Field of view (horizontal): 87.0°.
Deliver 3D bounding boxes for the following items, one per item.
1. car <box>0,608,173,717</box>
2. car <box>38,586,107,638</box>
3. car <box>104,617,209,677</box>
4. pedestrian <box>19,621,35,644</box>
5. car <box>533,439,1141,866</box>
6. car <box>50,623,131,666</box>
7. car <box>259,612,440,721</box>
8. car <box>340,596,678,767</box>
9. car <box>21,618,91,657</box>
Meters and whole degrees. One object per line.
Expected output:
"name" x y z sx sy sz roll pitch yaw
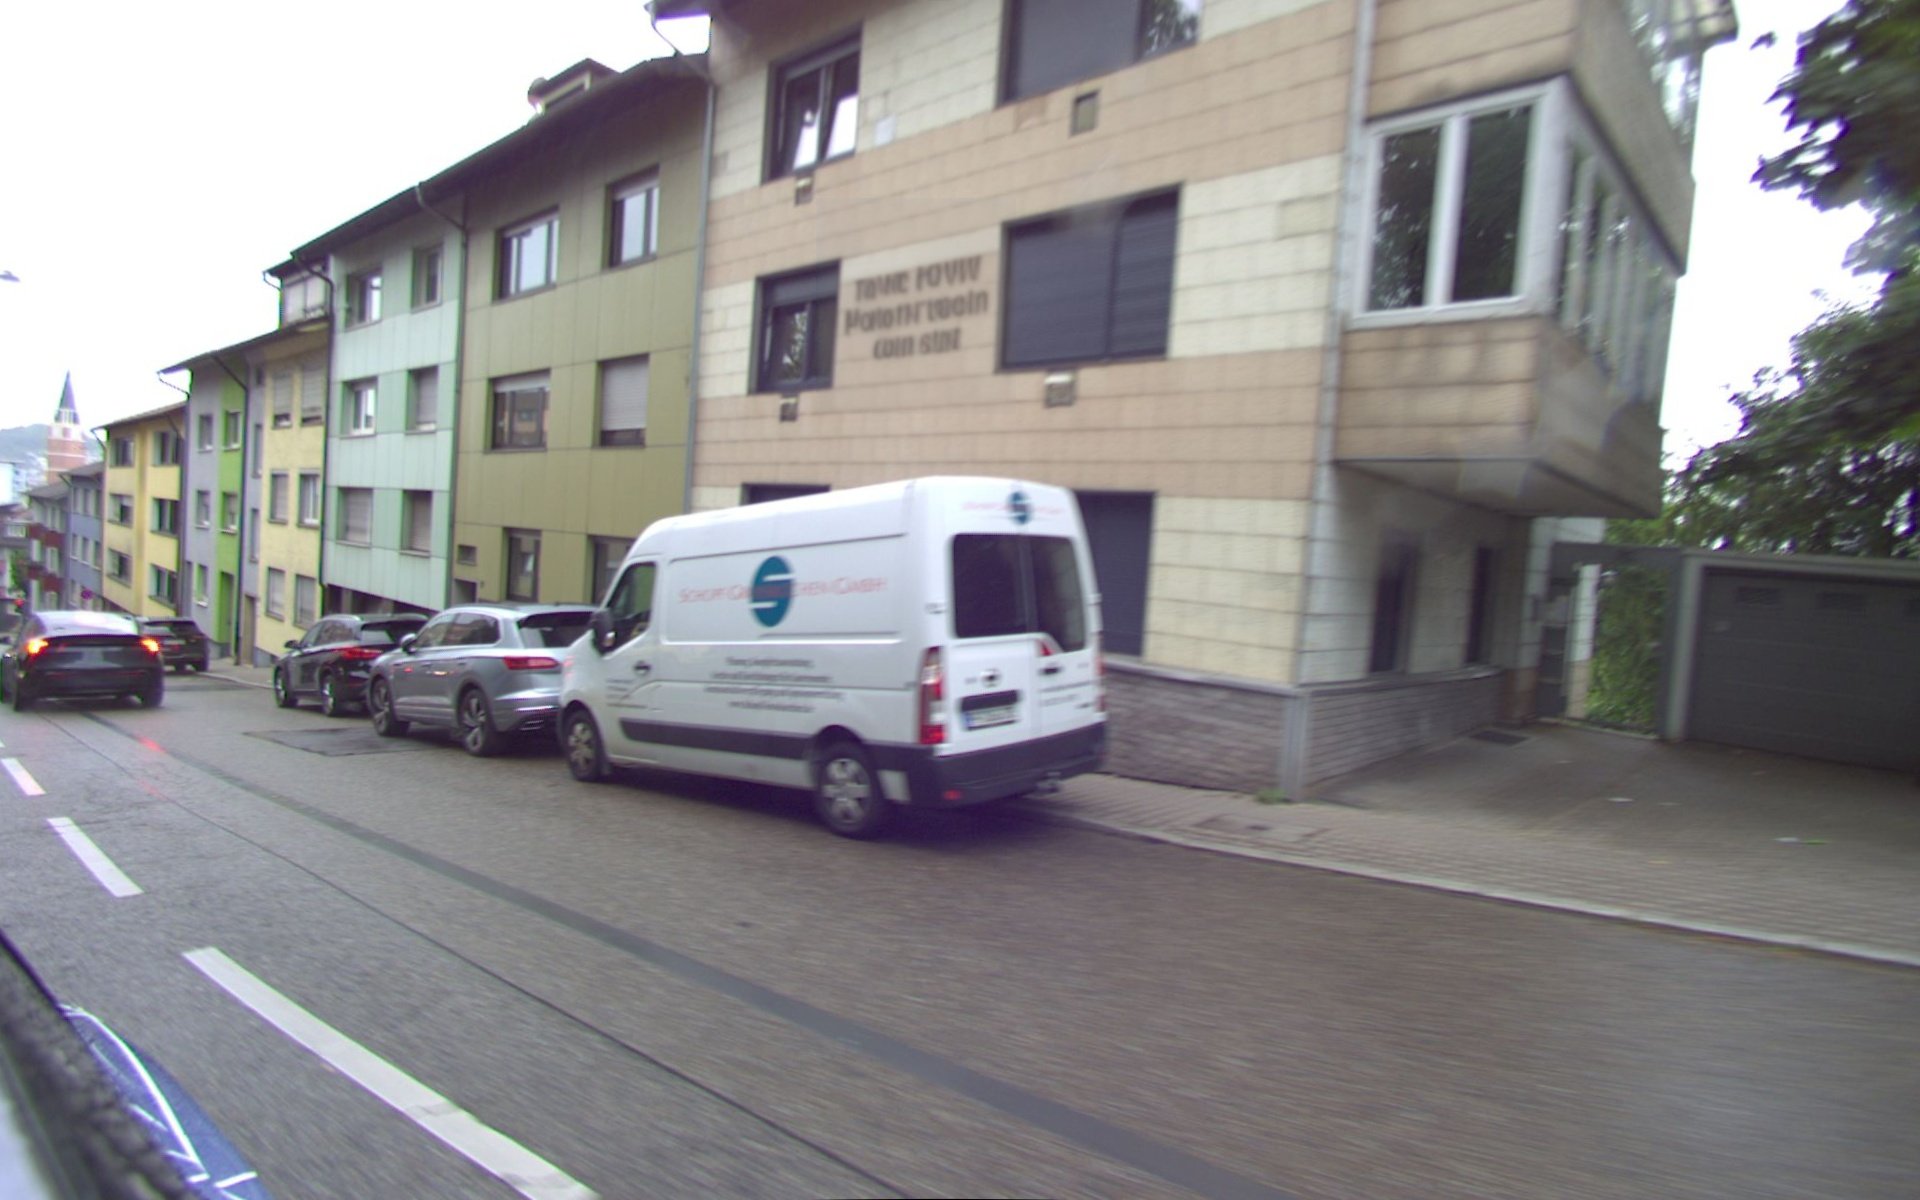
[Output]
"car" -15.285 0.997 17.495 4.499 1.637 1.915 -1 -2 43
"car" -47.733 0.687 54.403 5.443 2.570 2.094 -1 -4 42
"car" -23.178 1.319 29.138 3.999 1.606 1.674 -1 -3 42
"pedestrian" -66.666 2.294 72.313 0.455 1.630 0.794 -1 -1 44
"car" -1.352 0.402 8.705 5.443 2.570 2.094 -1 -4 42
"car" -33.788 1.706 39.297 3.999 1.548 1.883 -1 -3 42
"car" -10.409 1.054 17.111 4.382 1.627 1.396 -1 -3 43
"car" -5.824 0.926 12.760 4.882 1.753 1.945 -1 -4 41
"car" -40.824 1.693 45.689 4.327 1.669 1.883 -1 -3 43
